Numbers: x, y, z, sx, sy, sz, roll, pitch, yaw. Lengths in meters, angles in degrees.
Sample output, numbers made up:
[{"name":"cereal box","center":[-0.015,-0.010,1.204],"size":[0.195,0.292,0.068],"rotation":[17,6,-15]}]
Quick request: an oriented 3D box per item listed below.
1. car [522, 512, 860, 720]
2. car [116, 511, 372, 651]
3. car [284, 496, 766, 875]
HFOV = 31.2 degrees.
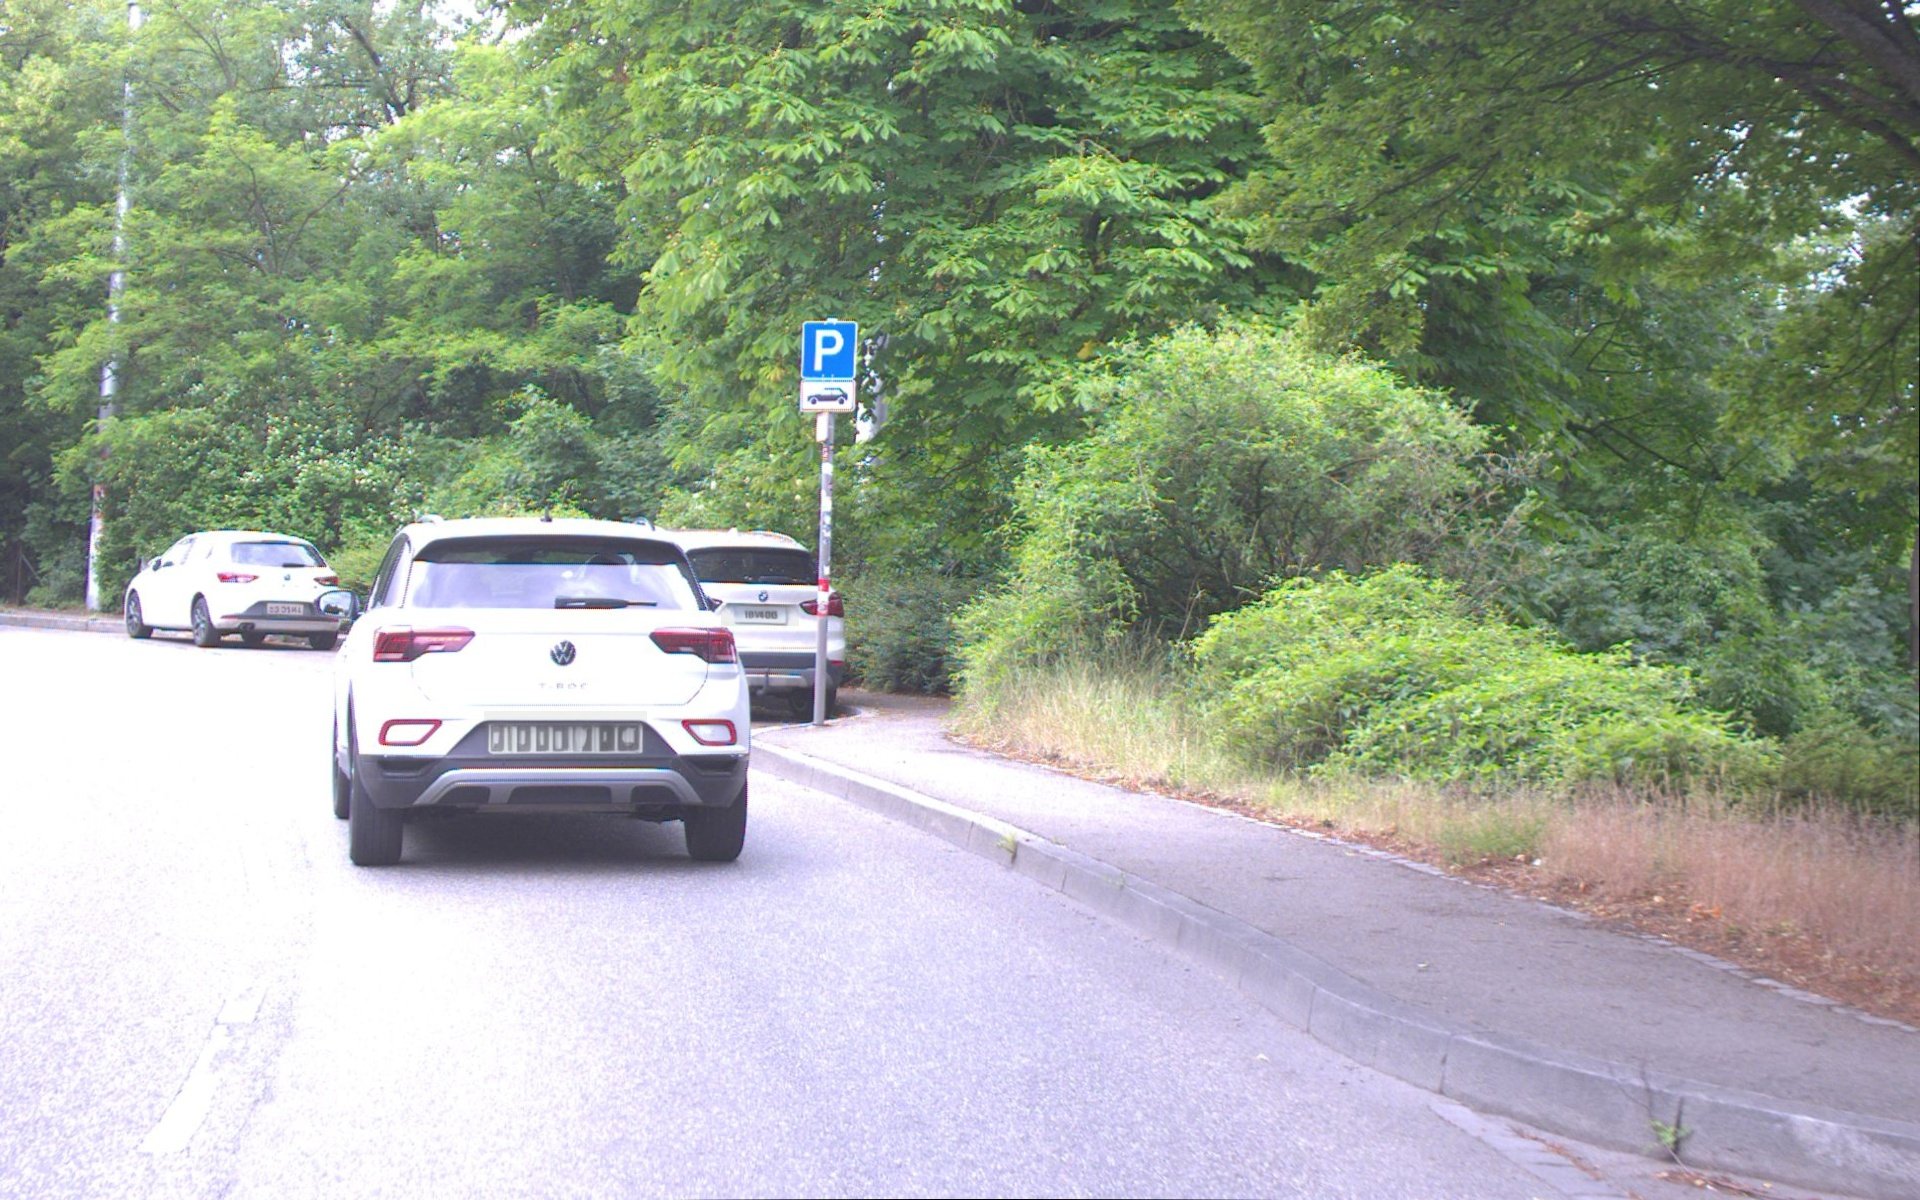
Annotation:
[{"name":"car","center":[-2.410,0.080,29.699],"size":[1.758,1.646,4.382],"rotation":[1,1,-20]},{"name":"car","center":[-9.199,-0.277,43.880],"size":[1.732,1.477,4.702],"rotation":[3,1,-30]},{"name":"car","center":[-2.136,0.319,16.519],"size":[2.000,1.590,4.001],"rotation":[1,1,-9]}]
